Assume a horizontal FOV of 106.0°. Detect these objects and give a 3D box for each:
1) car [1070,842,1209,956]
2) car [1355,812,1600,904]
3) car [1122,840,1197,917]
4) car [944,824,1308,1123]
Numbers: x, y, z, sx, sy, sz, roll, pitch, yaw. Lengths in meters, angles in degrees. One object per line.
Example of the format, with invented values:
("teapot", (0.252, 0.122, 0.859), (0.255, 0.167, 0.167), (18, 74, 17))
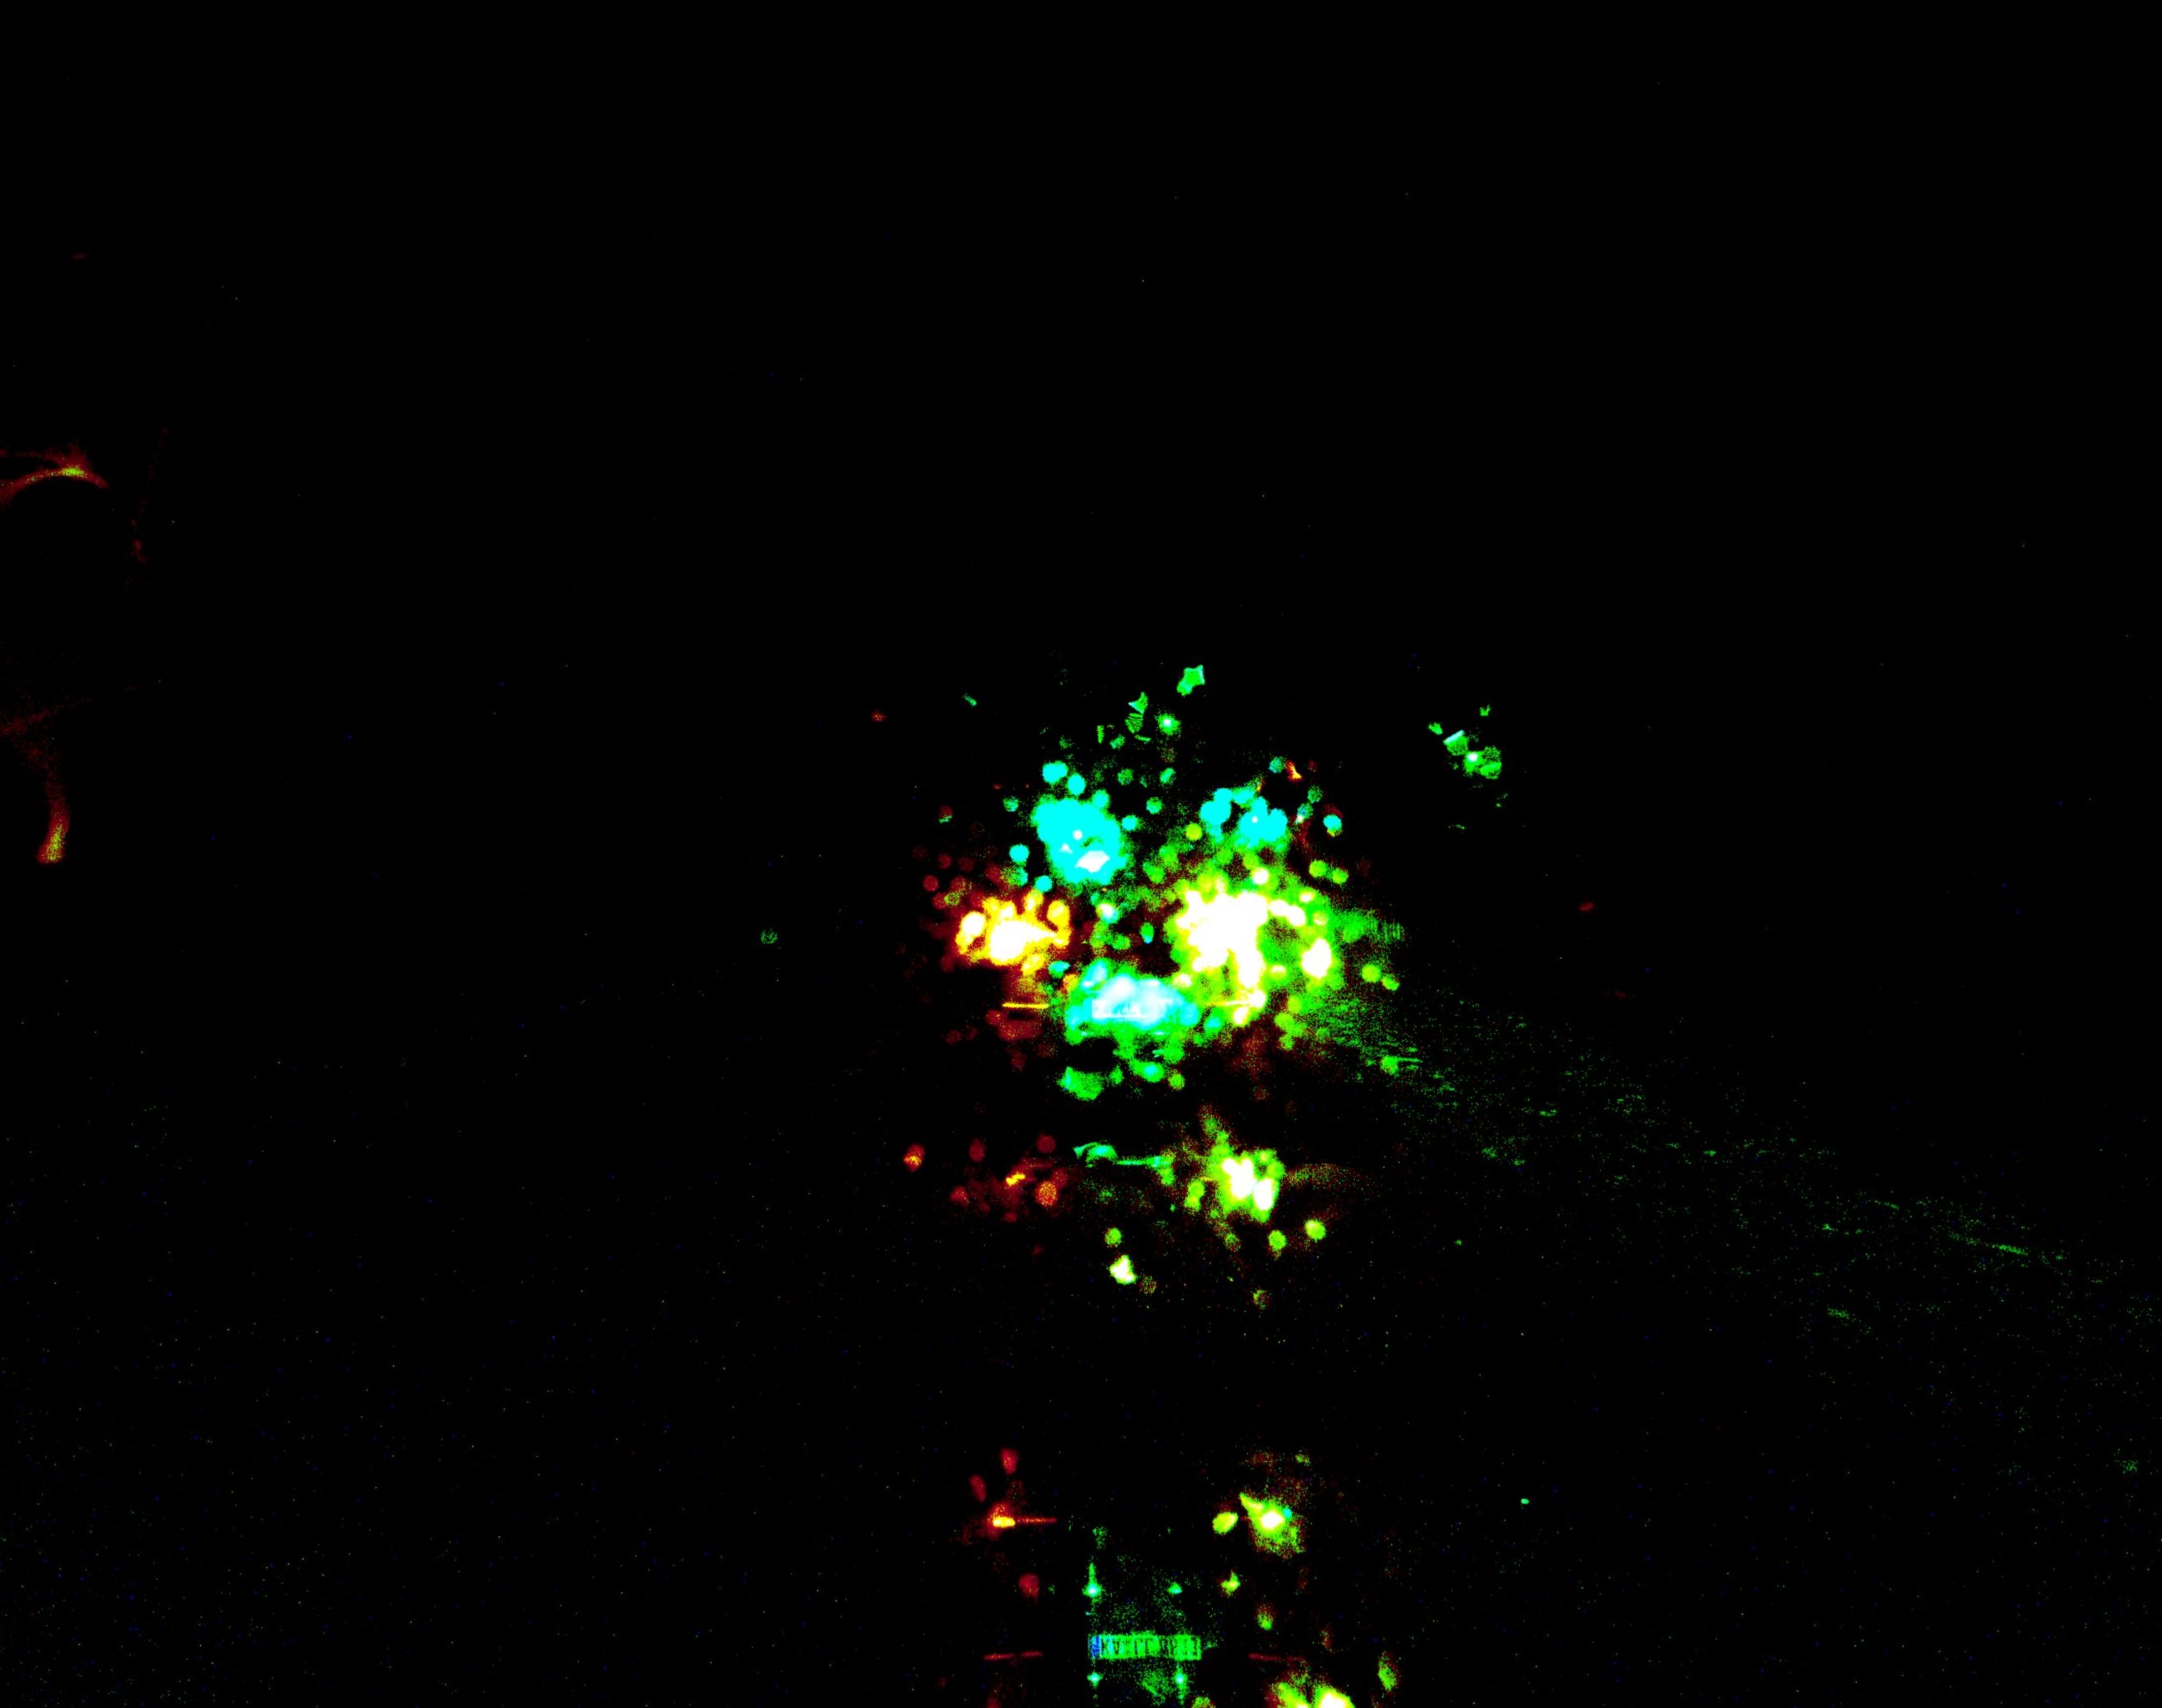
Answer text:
("car", (0.929, 0.635, 13.799), (1.902, 1.510, 4.243), (-4, 0, 2))
("car", (8.480, 0.082, 17.867), (4.437, 1.586, 1.946), (-4, 0, 13))
("car", (2.380, 0.620, 23.789), (1.760, 1.947, 4.267), (2, 2, 10))
("car", (0.319, 0.676, 6.662), (2.050, 1.678, 4.141), (0, 0, 2))
